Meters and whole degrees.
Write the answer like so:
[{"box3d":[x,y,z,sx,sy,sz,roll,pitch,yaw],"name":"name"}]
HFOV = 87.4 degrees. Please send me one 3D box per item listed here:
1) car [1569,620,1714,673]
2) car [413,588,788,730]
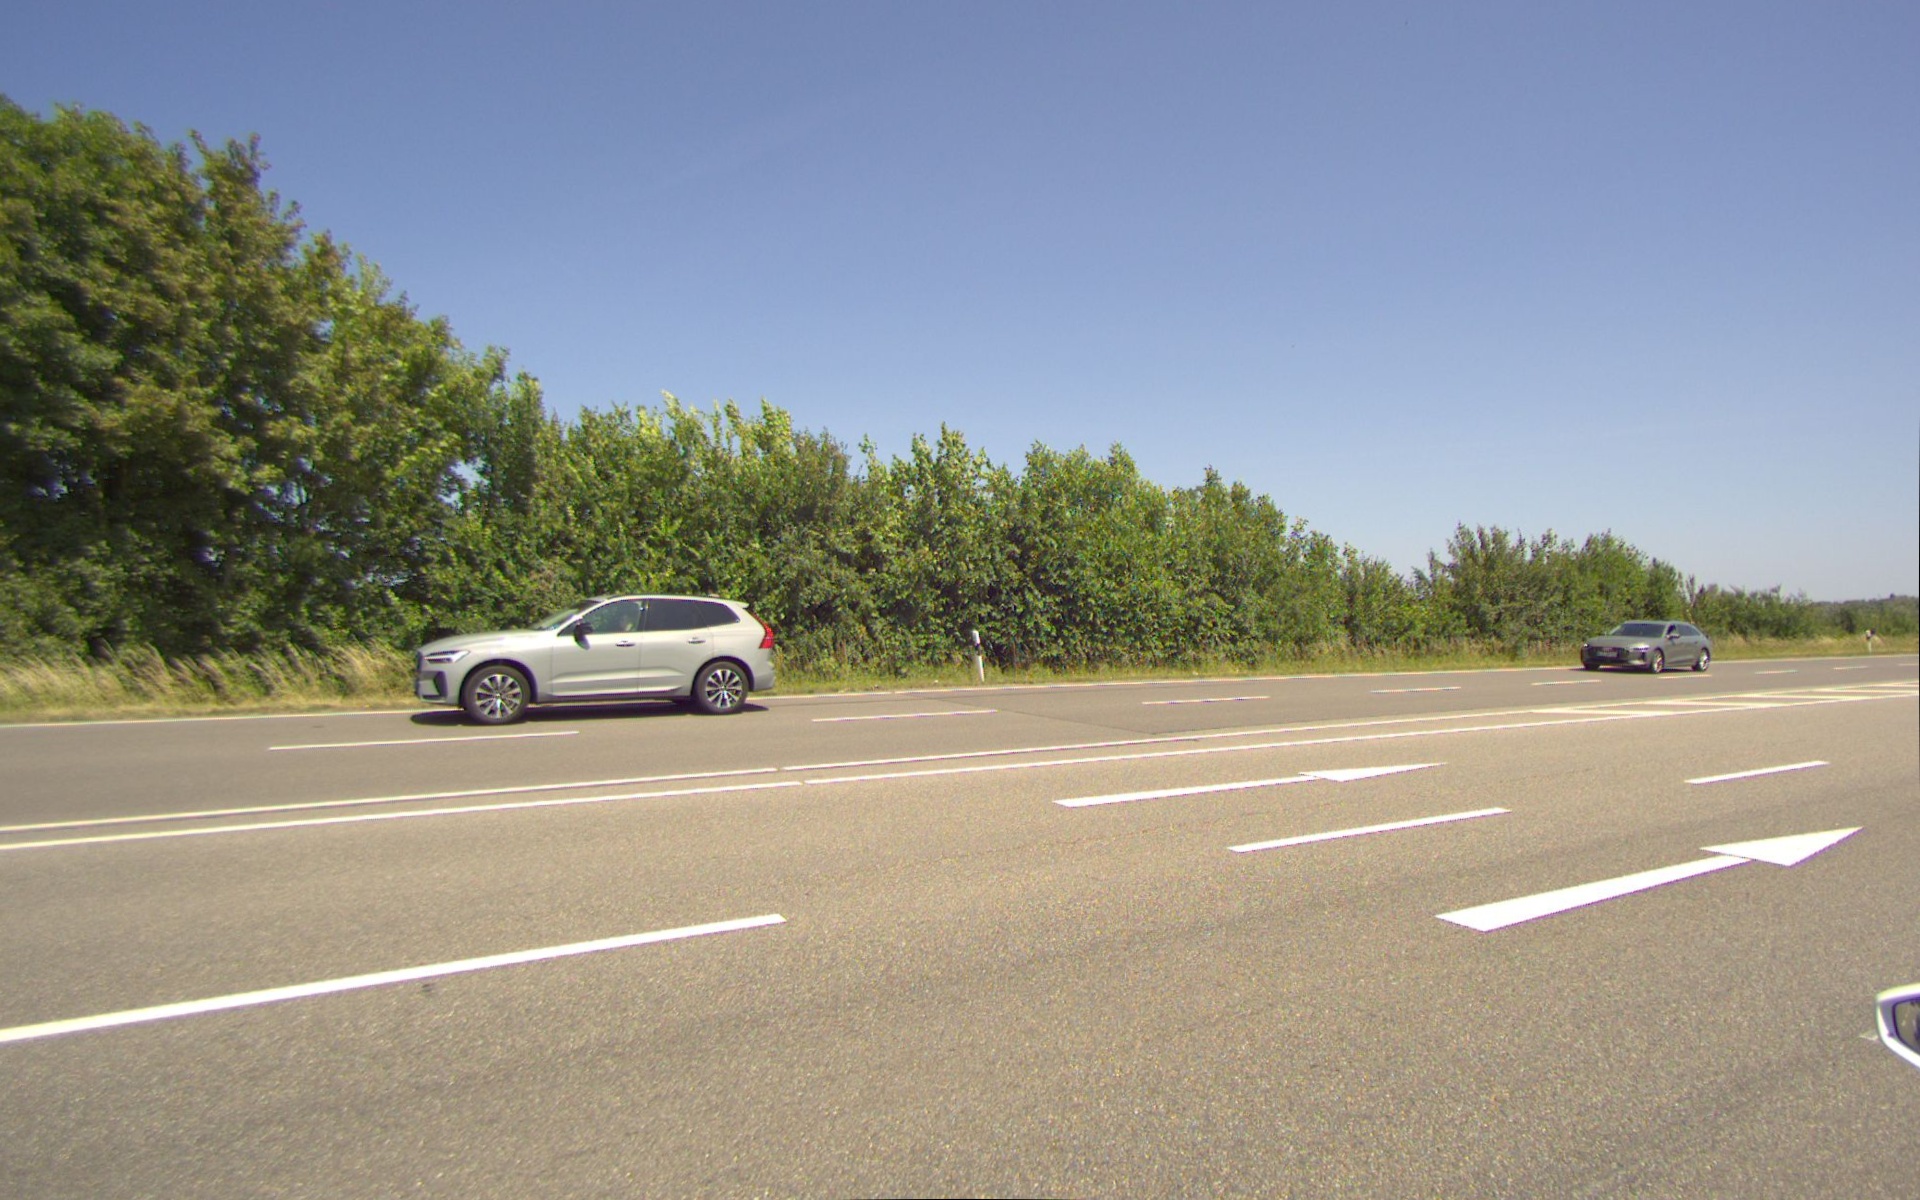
[{"box3d":[19.815,1.327,29.158,4.482,1.416,1.868,2,-1,-33],"name":"car"},{"box3d":[-4.860,0.729,13.777,4.520,1.661,2.016,1,0,-33],"name":"car"}]
